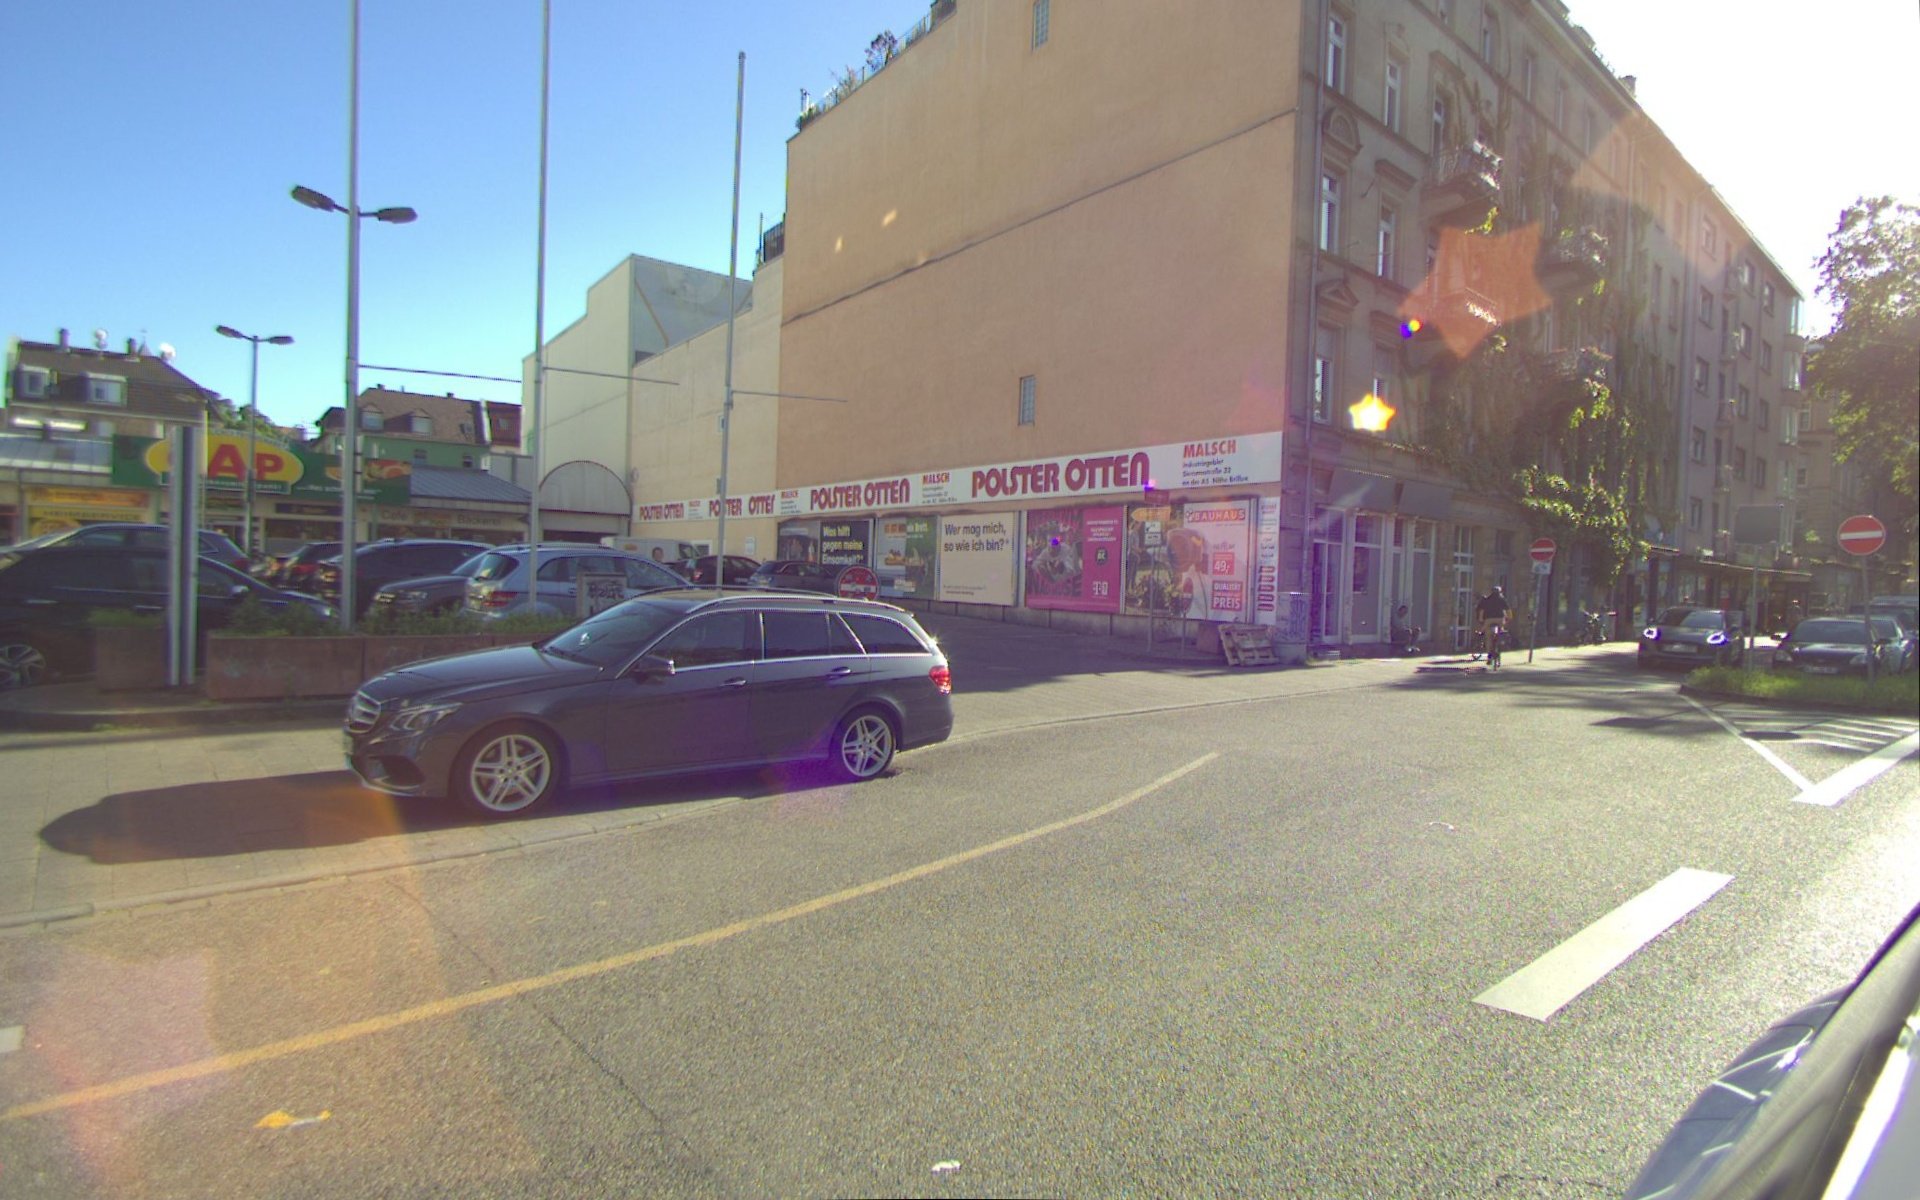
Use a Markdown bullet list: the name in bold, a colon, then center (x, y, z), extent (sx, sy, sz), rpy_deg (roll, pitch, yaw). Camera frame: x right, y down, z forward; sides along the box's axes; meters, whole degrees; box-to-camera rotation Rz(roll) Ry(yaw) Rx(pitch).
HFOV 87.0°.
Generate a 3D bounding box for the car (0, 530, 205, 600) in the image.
- **car**: center (-20.843, -0.828, 24.538), extent (3.930, 1.538, 1.725), rpy_deg (1, 2, -41)

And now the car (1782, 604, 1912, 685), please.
- **car**: center (18.687, 0.860, 21.272), extent (3.932, 1.537, 1.642), rpy_deg (0, -1, -43)

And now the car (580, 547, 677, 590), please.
- **car**: center (-15.341, -1.457, 46.880), extent (3.967, 1.823, 1.664), rpy_deg (1, 2, -30)

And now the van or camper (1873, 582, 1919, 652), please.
- **van or camper**: center (29.839, 0.519, 31.227), extent (5.006, 2.038, 1.887), rpy_deg (0, 2, -42)

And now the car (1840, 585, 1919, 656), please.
- **car**: center (25.721, 0.531, 27.689), extent (3.929, 1.786, 1.868), rpy_deg (1, 2, -40)

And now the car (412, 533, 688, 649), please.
- **car**: center (-6.803, -0.174, 17.037), extent (3.933, 1.714, 1.747), rpy_deg (0, 3, -44)

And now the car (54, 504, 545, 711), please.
- **car**: center (-6.401, 0.016, 10.080), extent (3.839, 1.665, 1.651), rpy_deg (0, 3, -45)

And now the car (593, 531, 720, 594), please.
- **car**: center (-12.695, -1.532, 42.492), extent (4.789, 2.442, 1.712), rpy_deg (1, 2, -34)

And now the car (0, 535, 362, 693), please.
- **car**: center (-8.726, 0.112, 11.204), extent (3.339, 1.504, 1.559), rpy_deg (0, 2, -45)

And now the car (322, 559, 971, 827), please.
- **car**: center (-2.296, 0.542, 8.205), extent (4.649, 1.505, 1.838), rpy_deg (1, 4, -40)

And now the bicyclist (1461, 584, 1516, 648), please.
- **bicyclist**: center (12.724, 0.374, 24.367), extent (1.161, 1.463, 0.678), rpy_deg (1, 5, -41)

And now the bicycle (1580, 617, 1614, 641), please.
- **bicycle**: center (20.090, 0.904, 31.912), extent (1.486, 0.714, 0.469), rpy_deg (1, 1, -41)

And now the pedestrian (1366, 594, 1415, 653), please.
- **pedestrian**: center (9.975, 0.529, 23.457), extent (0.701, 1.275, 0.717), rpy_deg (1, 5, -40)

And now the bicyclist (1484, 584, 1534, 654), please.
- **bicyclist**: center (11.915, 0.401, 21.950), extent (0.744, 1.480, 0.936), rpy_deg (0, 0, 43)

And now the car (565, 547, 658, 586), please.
- **car**: center (-16.909, -1.630, 49.137), extent (3.967, 1.758, 1.664), rpy_deg (1, 2, -30)

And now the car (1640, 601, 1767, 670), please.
- **car**: center (18.674, 0.880, 25.362), extent (4.304, 1.547, 1.700), rpy_deg (2, -1, -42)

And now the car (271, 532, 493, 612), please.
- **car**: center (-12.262, -0.566, 21.610), extent (3.870, 1.563, 1.544), rpy_deg (0, 2, -42)

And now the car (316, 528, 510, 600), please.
- **car**: center (-13.221, -0.840, 24.590), extent (3.870, 1.601, 1.659), rpy_deg (0, 2, -42)

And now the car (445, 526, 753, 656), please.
- **car**: center (-5.249, -0.147, 15.033), extent (3.934, 1.665, 1.746), rpy_deg (0, 2, -45)

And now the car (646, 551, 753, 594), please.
- **car**: center (-9.862, -1.049, 38.345), extent (3.575, 1.552, 1.682), rpy_deg (-1, 2, -35)

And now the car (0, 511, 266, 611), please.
- **car**: center (-15.585, -0.680, 18.769), extent (4.305, 1.687, 1.758), rpy_deg (0, 2, -41)

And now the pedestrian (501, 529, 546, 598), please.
- **pedestrian**: center (-11.787, -0.972, 27.320), extent (0.907, 1.818, 0.818), rpy_deg (1, 1, -40)

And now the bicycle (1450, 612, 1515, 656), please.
- **bicycle**: center (12.584, 0.799, 24.337), extent (1.884, 0.930, 0.651), rpy_deg (0, 6, -40)

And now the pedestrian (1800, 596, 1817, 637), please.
- **pedestrian**: center (39.177, 0.741, 46.706), extent (0.507, 1.856, 0.469), rpy_deg (1, 1, -41)

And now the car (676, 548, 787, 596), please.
- **car**: center (-8.293, -1.020, 36.744), extent (3.575, 1.690, 1.682), rpy_deg (-1, 2, -35)

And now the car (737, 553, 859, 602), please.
- **car**: center (-5.250, -0.745, 32.959), extent (3.579, 1.481, 1.680), rpy_deg (-1, 3, -39)

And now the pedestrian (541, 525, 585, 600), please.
- **pedestrian**: center (-11.037, -1.041, 28.122), extent (0.907, 2.039, 0.818), rpy_deg (1, 1, -40)

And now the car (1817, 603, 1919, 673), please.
- **car**: center (21.936, 0.858, 24.202), extent (3.932, 1.537, 1.740), rpy_deg (0, -1, -43)

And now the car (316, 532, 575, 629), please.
- **car**: center (-9.144, -0.336, 18.179), extent (3.871, 1.563, 1.544), rpy_deg (0, 2, -43)

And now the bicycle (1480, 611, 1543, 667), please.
- **bicycle**: center (12.028, 0.828, 22.036), extent (0.756, 1.116, 1.924), rpy_deg (3, 2, 42)

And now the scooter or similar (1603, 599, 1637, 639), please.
- **scooter or similar**: center (20.995, 0.602, 32.215), extent (0.631, 1.188, 1.720), rpy_deg (2, 2, 25)
